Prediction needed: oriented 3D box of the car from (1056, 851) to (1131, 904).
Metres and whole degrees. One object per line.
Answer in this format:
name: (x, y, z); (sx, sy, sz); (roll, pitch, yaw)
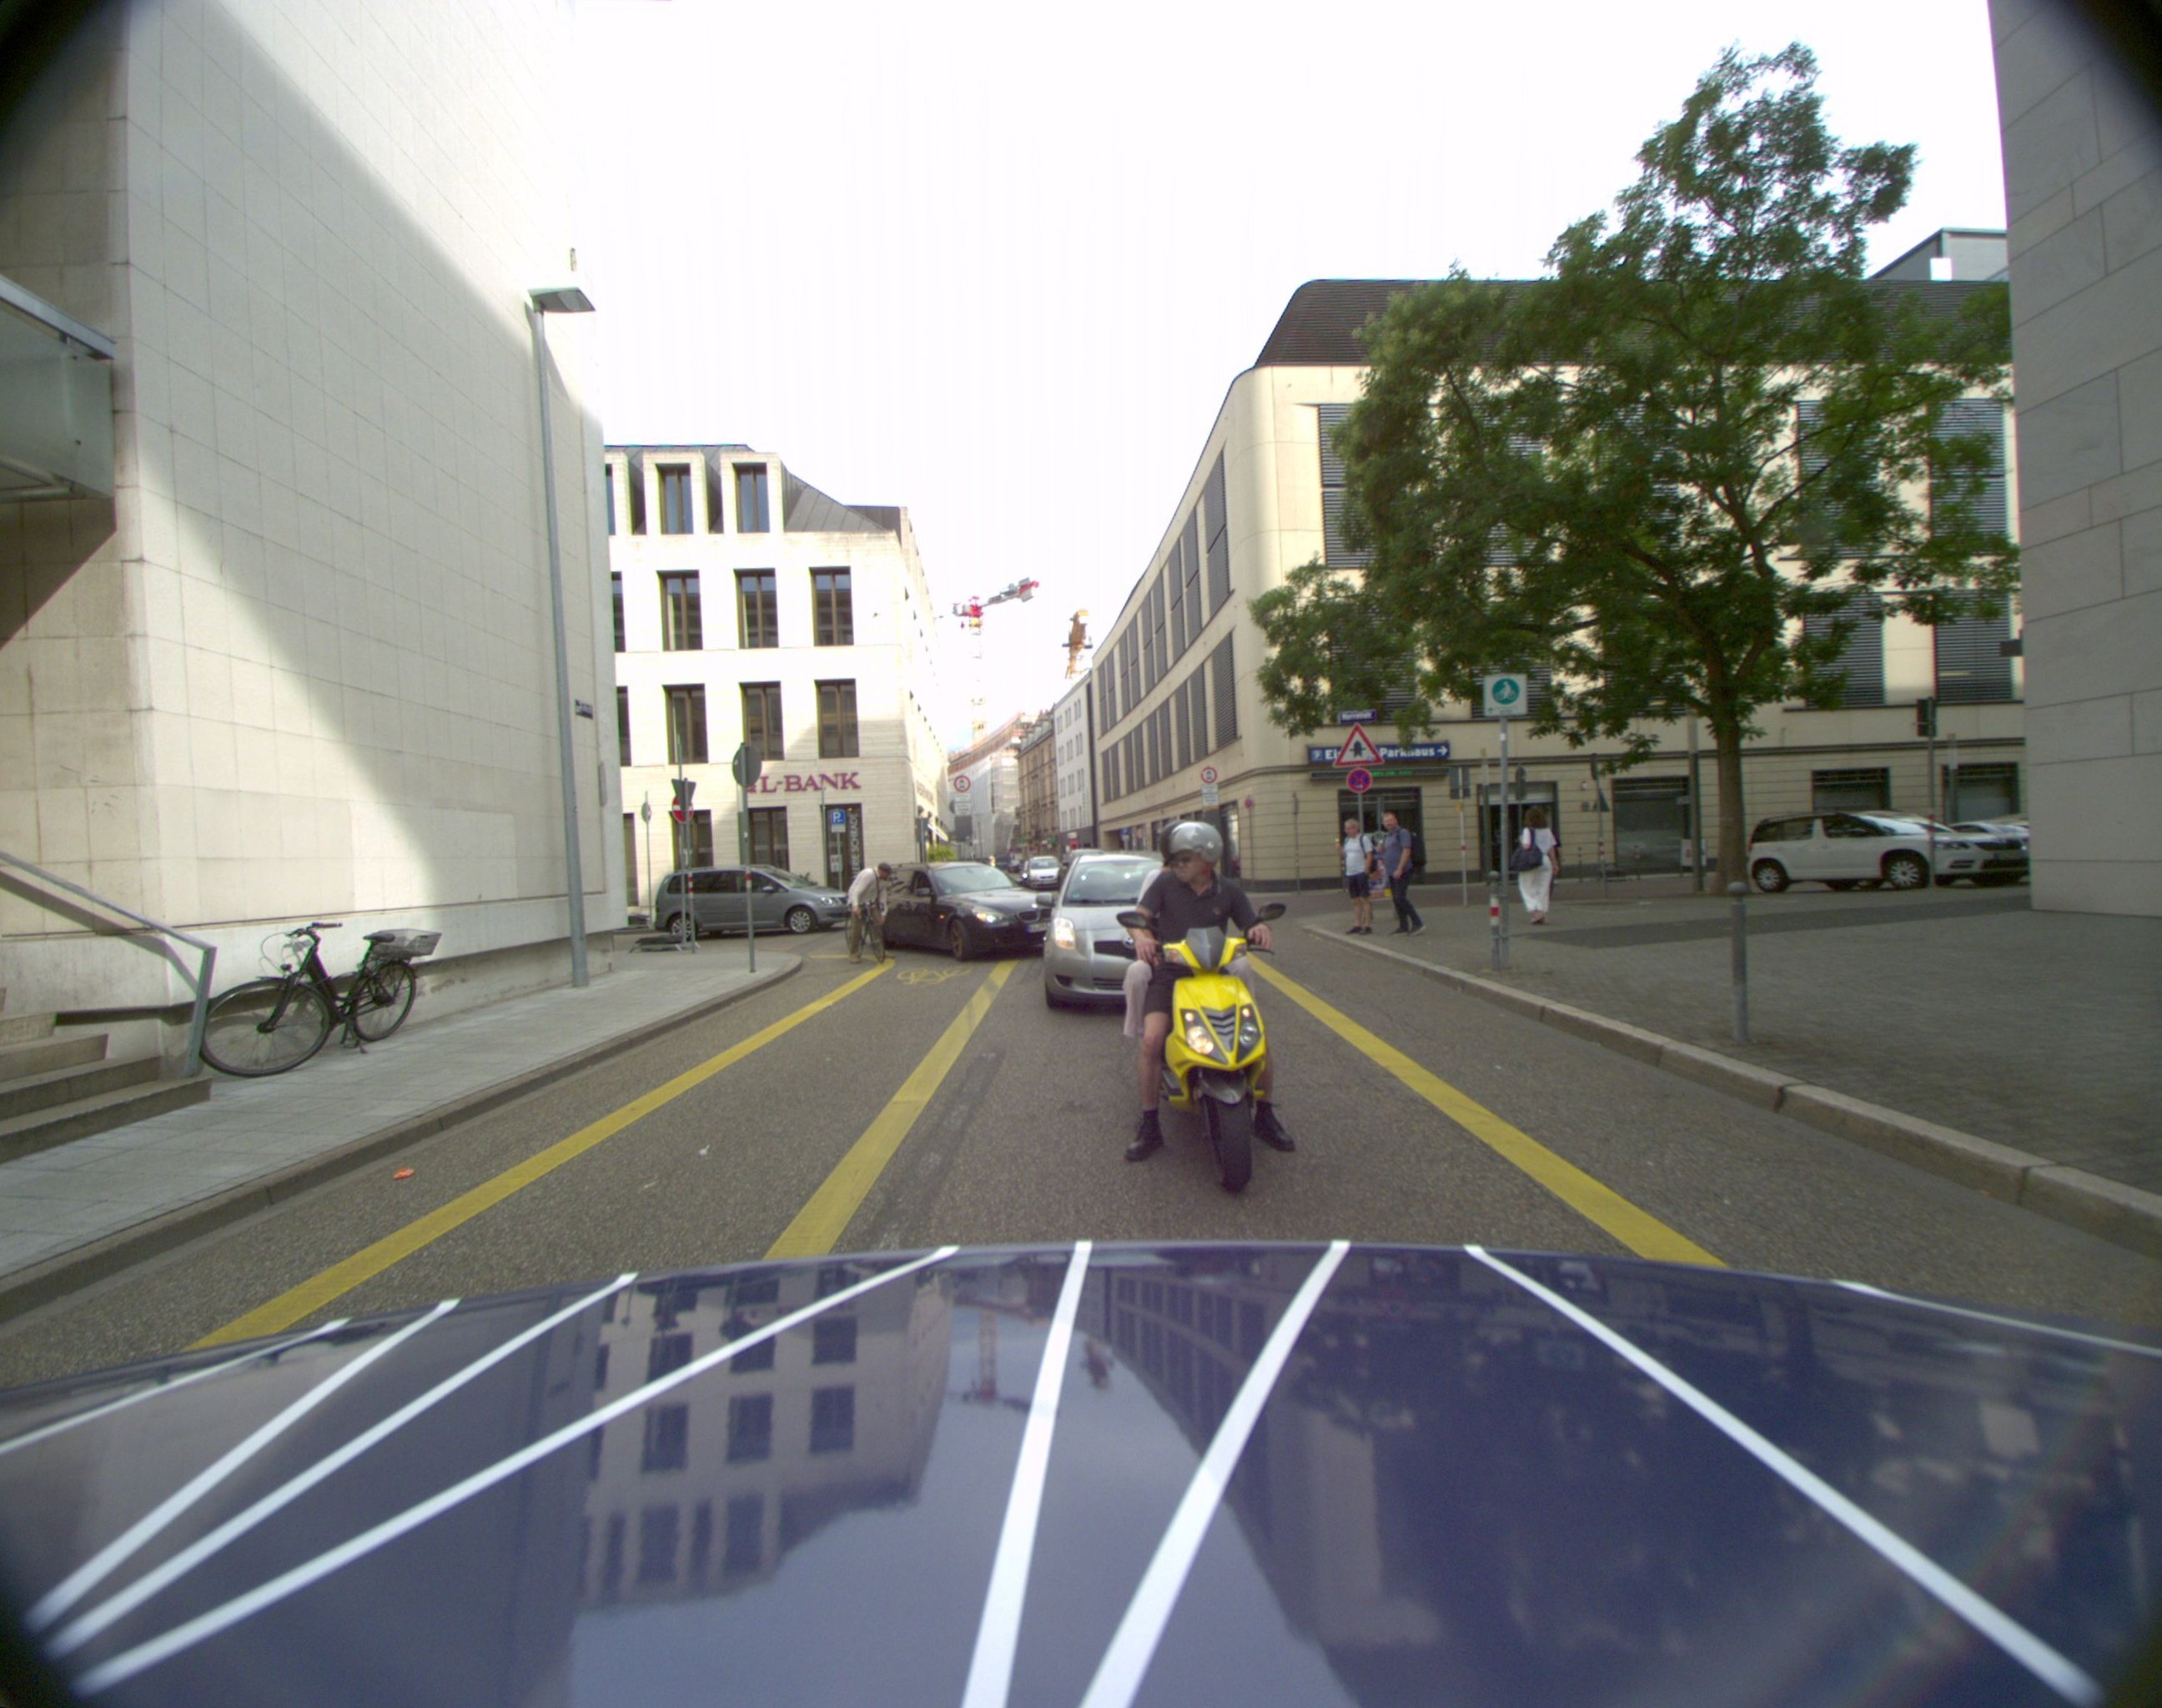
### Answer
car: (0.319, 0.678, 24.386); (1.710, 1.482, 4.100); (-3, 1, -8)

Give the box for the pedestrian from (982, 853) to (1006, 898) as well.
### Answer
pedestrian: (-3.655, 0.907, 31.959); (0.861, 1.820, 0.774); (-2, 1, 1)

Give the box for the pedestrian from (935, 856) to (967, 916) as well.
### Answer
pedestrian: (-4.076, 0.974, 23.770); (0.774, 1.820, 0.860); (-3, 1, -20)

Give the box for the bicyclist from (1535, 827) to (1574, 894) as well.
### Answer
bicyclist: (11.898, 0.159, 19.101); (0.621, 1.609, 0.645); (-5, 0, 40)

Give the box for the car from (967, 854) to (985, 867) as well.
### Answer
car: (-12.811, 0.743, 92.716); (1.590, 1.477, 3.994); (-2, 1, -15)

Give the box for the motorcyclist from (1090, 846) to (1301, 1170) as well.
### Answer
motorcyclist: (0.522, 0.694, 3.936); (0.924, 1.445, 1.065); (-1, 0, 1)

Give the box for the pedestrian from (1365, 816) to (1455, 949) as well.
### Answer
pedestrian: (4.775, 0.400, 11.069); (0.745, 1.804, 0.756); (-6, 1, -11)

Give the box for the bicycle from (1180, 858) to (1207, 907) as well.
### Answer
bicycle: (3.071, 0.744, 20.827); (0.648, 1.233, 1.954); (0, 1, 6)

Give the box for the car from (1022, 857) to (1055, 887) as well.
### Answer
car: (-2.409, 0.963, 42.397); (1.589, 1.477, 3.997); (-2, 1, -6)

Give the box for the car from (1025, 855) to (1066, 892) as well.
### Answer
car: (-1.740, 0.876, 35.953); (1.563, 1.547, 4.100); (-3, 1, -7)

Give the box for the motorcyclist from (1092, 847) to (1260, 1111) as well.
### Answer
motorcyclist: (0.530, 0.691, 4.547); (0.903, 1.445, 0.742); (-1, 0, 1)

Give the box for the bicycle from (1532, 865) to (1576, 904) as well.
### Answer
bicycle: (11.850, 0.752, 19.009); (0.600, 0.829, 1.728); (-7, -2, 41)

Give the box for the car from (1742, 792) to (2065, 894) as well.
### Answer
car: (15.909, -0.096, 15.074); (1.899, 1.682, 3.964); (-2, -3, -3)

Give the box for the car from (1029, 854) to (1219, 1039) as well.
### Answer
car: (0.433, 0.802, 8.433); (1.562, 1.482, 3.784); (-3, 1, 2)

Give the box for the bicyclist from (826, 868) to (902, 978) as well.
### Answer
bicyclist: (-3.395, 1.030, 11.850); (0.894, 1.585, 0.875); (-3, 1, -30)

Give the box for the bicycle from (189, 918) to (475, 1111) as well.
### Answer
bicycle: (-5.978, 1.206, 6.245); (0.590, 1.160, 1.814); (-2, 1, -4)

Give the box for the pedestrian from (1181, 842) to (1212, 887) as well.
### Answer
pedestrian: (4.853, 0.432, 32.033); (0.892, 1.755, 1.060); (-6, 1, -5)

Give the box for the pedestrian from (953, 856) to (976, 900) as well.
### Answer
pedestrian: (-4.938, 1.012, 32.344); (0.861, 1.820, 0.773); (-2, 1, -6)

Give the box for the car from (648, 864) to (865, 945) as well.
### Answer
car: (-7.437, 1.130, 17.728); (4.193, 1.581, 1.815); (-2, 1, -1)

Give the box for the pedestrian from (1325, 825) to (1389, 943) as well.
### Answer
pedestrian: (4.290, 0.453, 11.839); (0.644, 1.755, 0.653); (-3, 1, -11)

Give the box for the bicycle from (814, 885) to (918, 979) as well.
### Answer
bicycle: (-3.471, 1.149, 12.030); (0.872, 1.188, 2.857); (-3, 1, -30)

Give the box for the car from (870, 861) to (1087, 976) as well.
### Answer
car: (-1.787, 0.917, 12.270); (1.720, 1.482, 3.755); (-3, 1, -38)

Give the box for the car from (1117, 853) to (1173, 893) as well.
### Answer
car: (2.717, 0.790, 33.145); (1.563, 1.547, 4.100); (-3, 1, -7)

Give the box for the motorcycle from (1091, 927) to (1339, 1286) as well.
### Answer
motorcycle: (0.528, 1.068, 3.956); (0.929, 1.158, 2.127); (-1, 0, 1)

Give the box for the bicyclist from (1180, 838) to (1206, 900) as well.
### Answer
bicyclist: (3.064, 0.399, 20.815); (0.644, 1.644, 0.940); (0, 1, 6)

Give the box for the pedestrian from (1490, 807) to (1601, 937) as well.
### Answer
pedestrian: (6.601, 0.238, 10.840); (0.879, 1.699, 0.910); (-6, 1, 0)
